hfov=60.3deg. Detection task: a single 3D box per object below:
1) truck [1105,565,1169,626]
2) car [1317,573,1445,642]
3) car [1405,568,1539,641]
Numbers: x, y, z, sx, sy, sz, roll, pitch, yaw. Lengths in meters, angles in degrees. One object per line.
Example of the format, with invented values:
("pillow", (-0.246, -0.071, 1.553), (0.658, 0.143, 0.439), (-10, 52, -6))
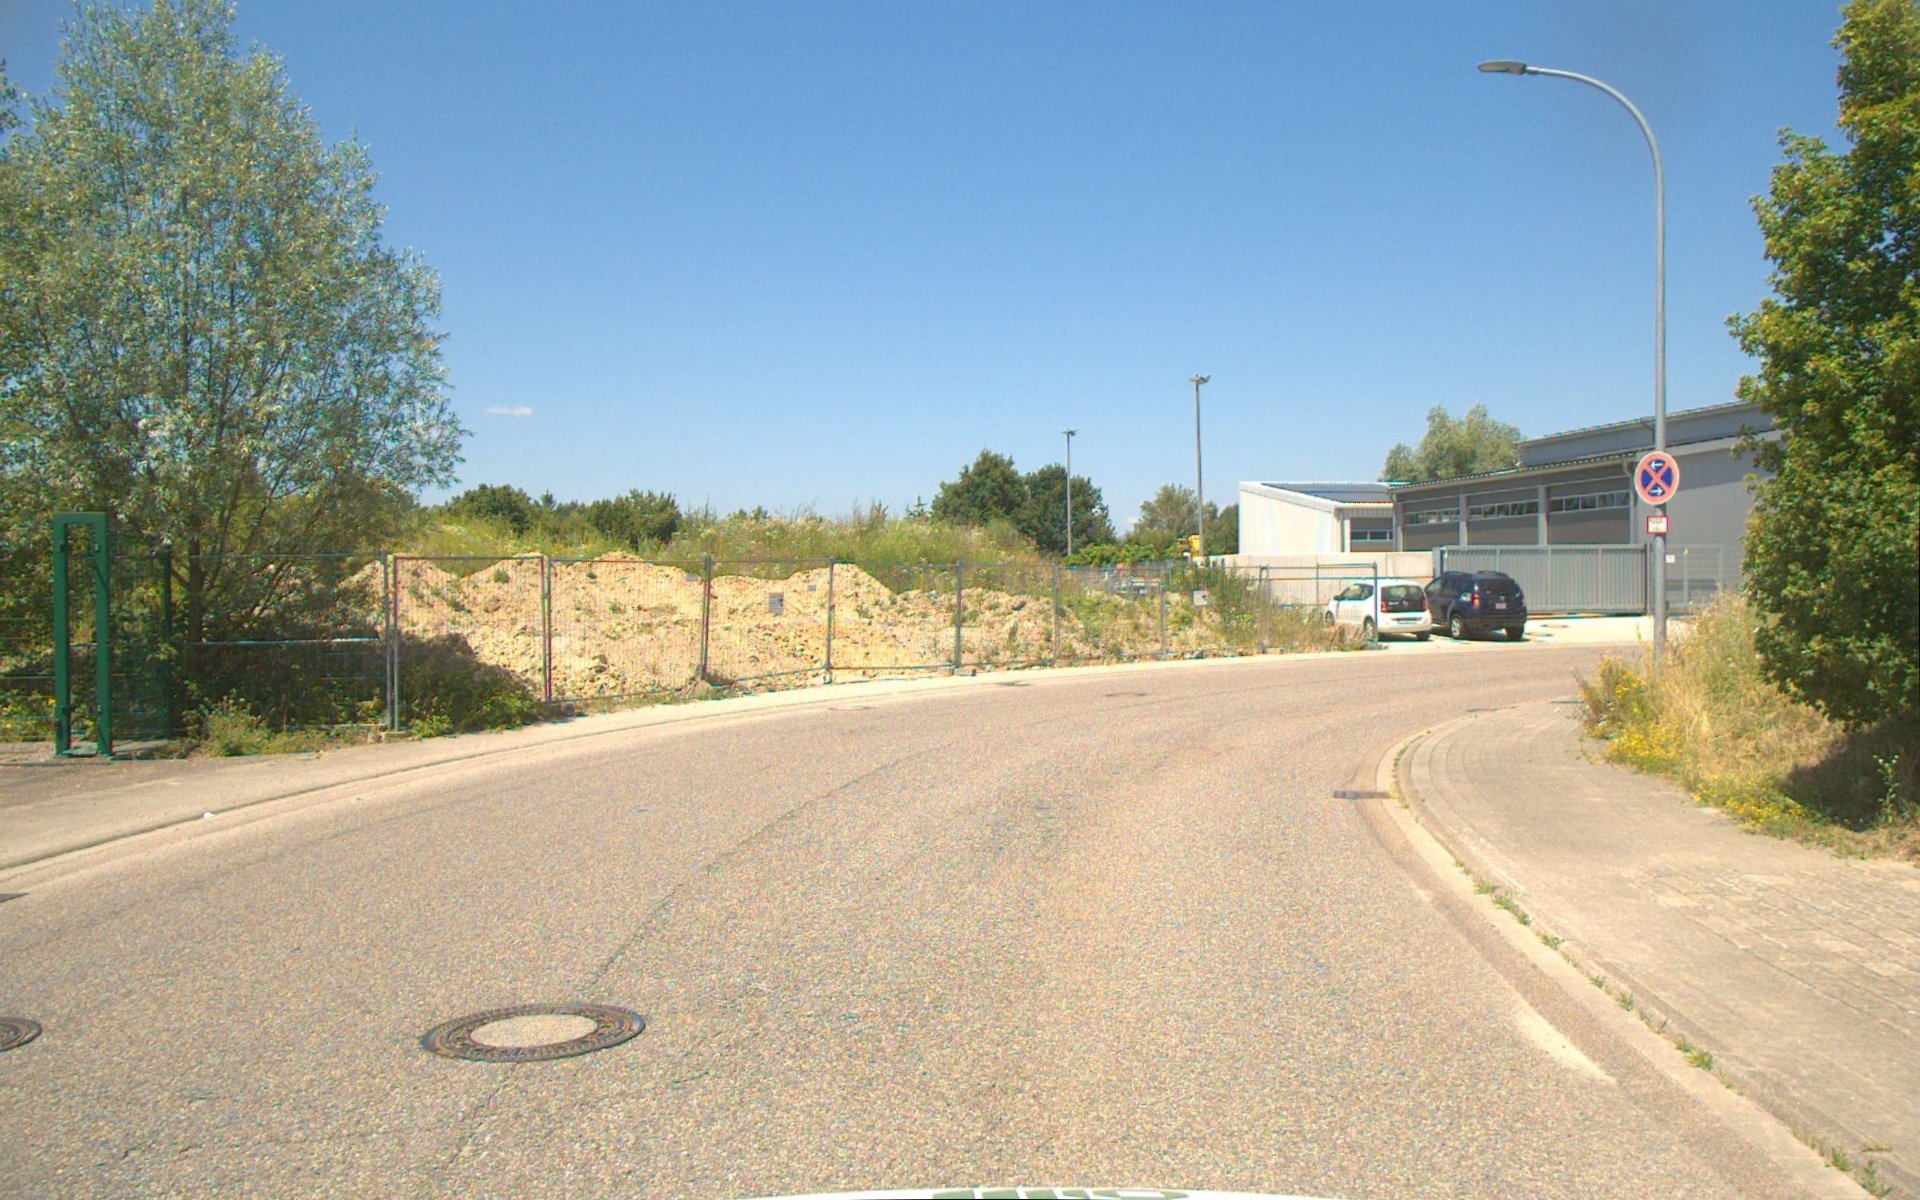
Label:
("truck", (9.244, -0.214, 86.648), (1.958, 3.037, 4.632), (-1, 0, -11))
("car", (10.852, 0.145, 42.875), (1.752, 1.524, 3.692), (-1, 3, -12))
("car", (13.275, 0.082, 43.098), (1.763, 1.636, 3.692), (-1, 3, -12))
